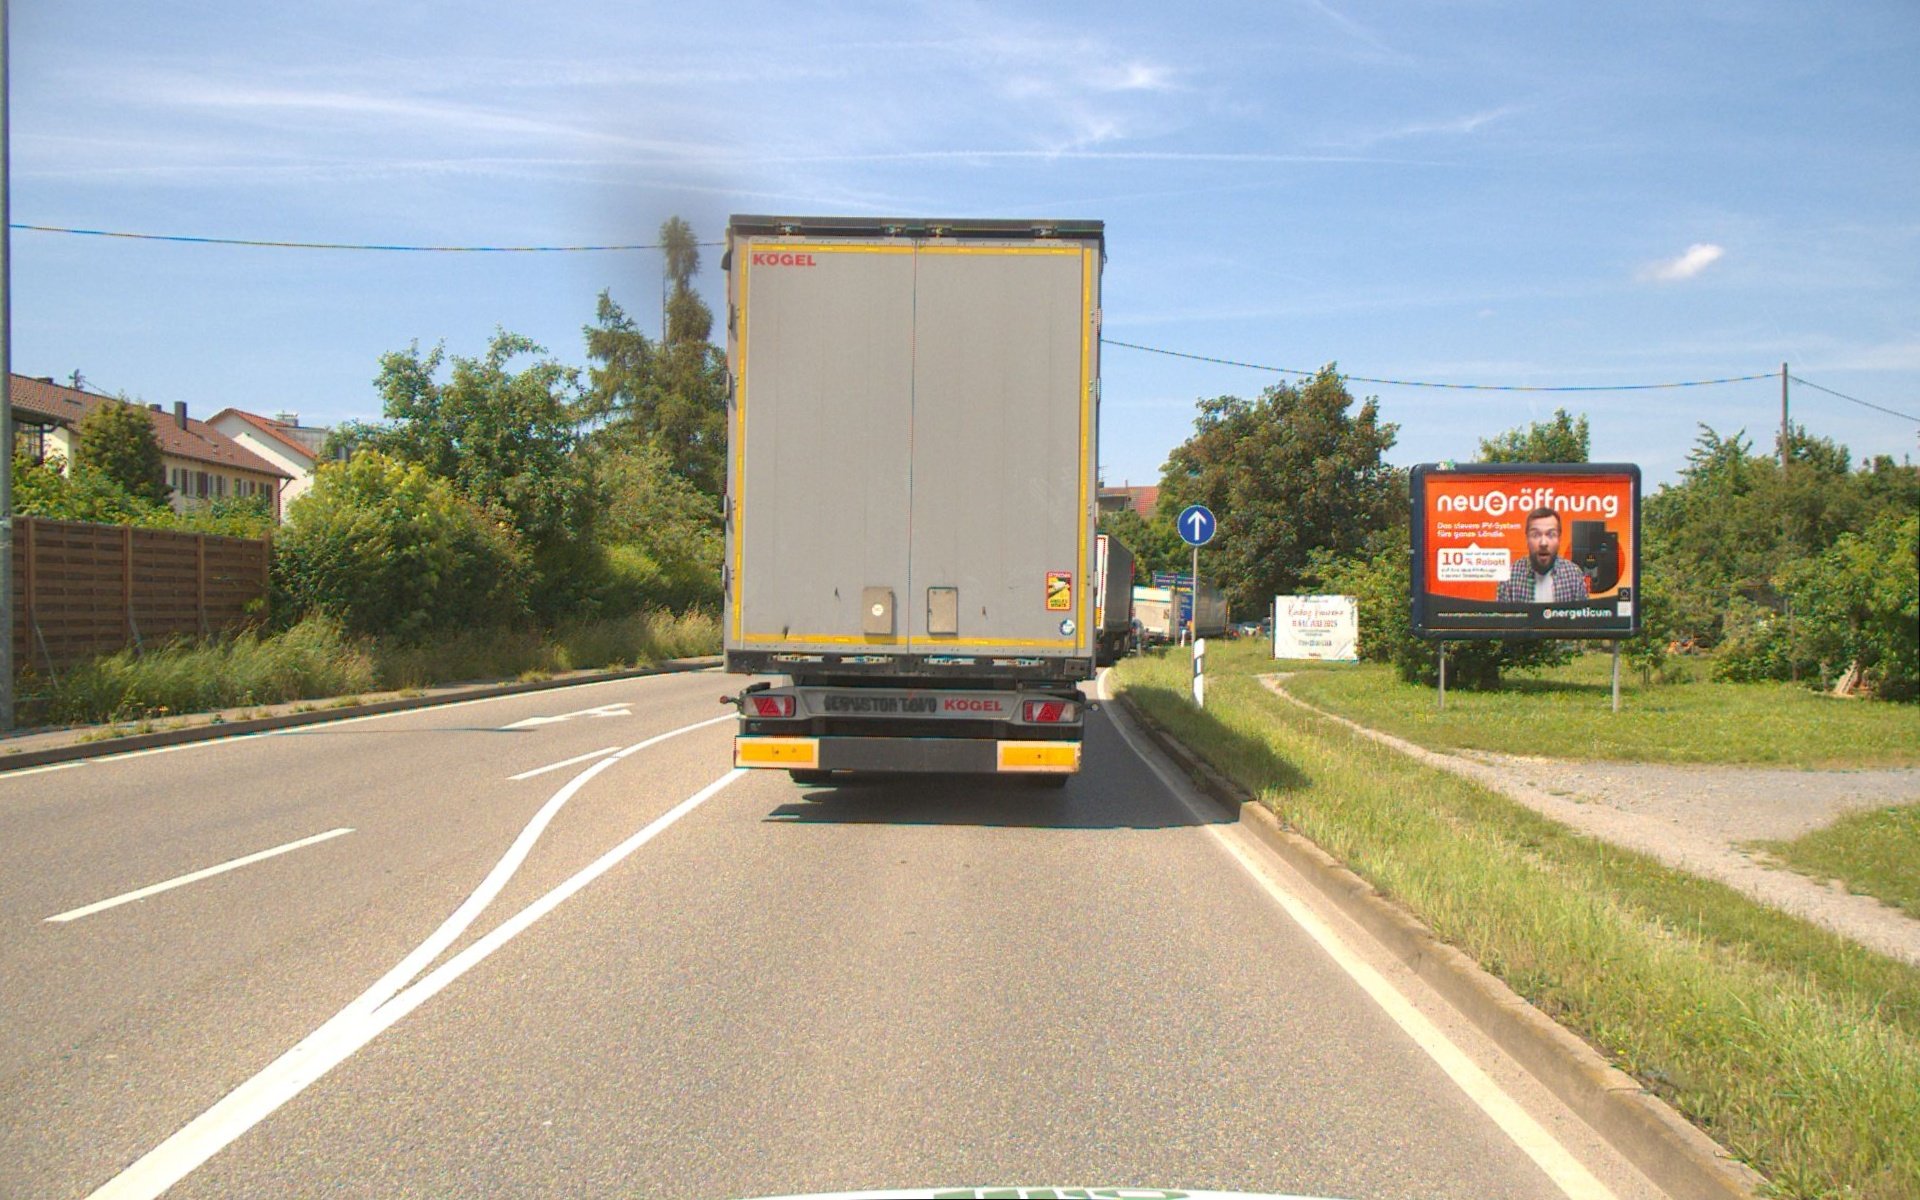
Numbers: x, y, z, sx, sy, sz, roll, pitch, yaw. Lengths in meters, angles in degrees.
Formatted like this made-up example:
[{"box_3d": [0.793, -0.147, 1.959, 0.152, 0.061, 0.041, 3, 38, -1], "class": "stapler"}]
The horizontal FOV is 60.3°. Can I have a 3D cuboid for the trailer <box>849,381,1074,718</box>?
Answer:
[{"box_3d": [0.132, -0.648, 23.953, 2.766, 4.183, 6.546, 1, 0, 2], "class": "trailer"}]

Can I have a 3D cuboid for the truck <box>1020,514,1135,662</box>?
[{"box_3d": [4.351, -0.239, 57.513, 2.701, 4.364, 16.427, 1, -1, 8], "class": "truck"}]

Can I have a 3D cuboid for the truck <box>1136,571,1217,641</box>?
[{"box_3d": [12.263, 0.305, 93.008, 3.360, 3.667, 9.361, 1, 0, 14], "class": "truck"}]

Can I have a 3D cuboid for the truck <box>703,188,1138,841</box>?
[{"box_3d": [-0.098, -0.580, 16.474, 2.763, 4.200, 11.446, 1, 0, 2], "class": "truck"}]

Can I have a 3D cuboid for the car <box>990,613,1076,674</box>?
[{"box_3d": [1.807, 1.024, 39.971, 1.780, 1.370, 3.850, 1, -1, 7], "class": "car"}]

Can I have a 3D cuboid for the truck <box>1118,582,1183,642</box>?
[{"box_3d": [9.553, 0.640, 82.628, 2.489, 2.852, 6.036, 1, -1, 13], "class": "truck"}]

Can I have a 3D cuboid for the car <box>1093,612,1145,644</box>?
[{"box_3d": [7.246, 1.269, 74.937, 1.951, 1.400, 4.003, 1, -1, 11], "class": "car"}]

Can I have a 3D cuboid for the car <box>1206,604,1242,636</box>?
[{"box_3d": [17.665, 1.334, 110.512, 1.951, 2.049, 4.003, 1, -1, 15], "class": "car"}]

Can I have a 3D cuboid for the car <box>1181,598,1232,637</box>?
[{"box_3d": [15.564, 1.054, 104.221, 2.478, 2.317, 6.386, 1, 0, 15], "class": "car"}]
